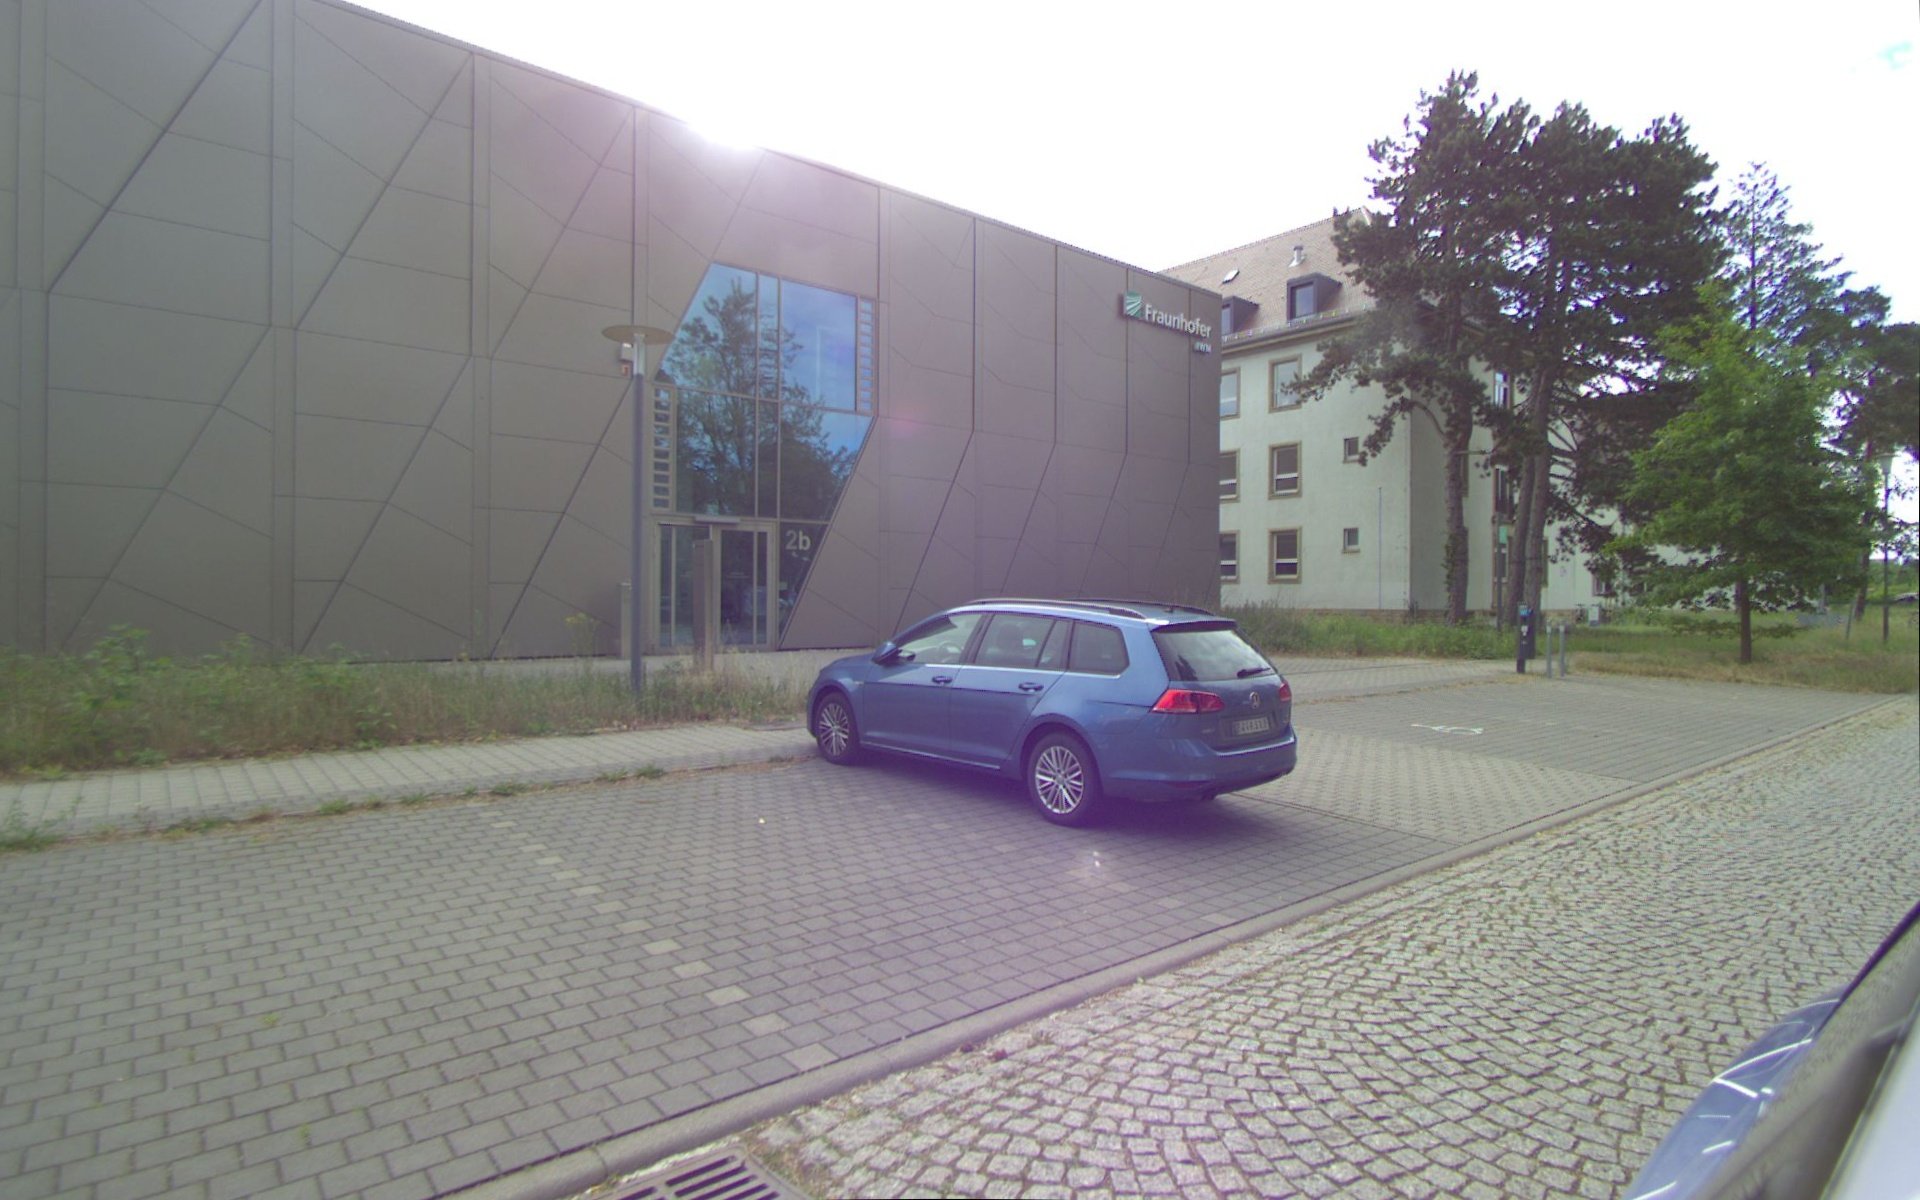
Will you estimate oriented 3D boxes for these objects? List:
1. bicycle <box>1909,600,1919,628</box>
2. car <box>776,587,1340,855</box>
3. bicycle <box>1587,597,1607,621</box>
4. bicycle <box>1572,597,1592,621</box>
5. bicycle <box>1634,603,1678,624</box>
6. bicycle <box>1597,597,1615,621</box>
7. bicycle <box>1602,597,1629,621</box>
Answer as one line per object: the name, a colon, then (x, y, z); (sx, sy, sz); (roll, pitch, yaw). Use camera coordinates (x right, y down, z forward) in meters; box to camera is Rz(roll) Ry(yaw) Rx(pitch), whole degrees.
bicycle: (46.371, 0.660, 47.782); (2.126, 1.292, 0.963); (0, 0, 6)
car: (0.499, 0.690, 8.233); (1.792, 1.461, 4.528); (0, 2, -42)
bicycle: (36.147, 0.508, 57.394); (0.571, 1.349, 1.808); (0, 0, 45)
bicycle: (35.615, 0.507, 57.945); (0.571, 1.349, 1.808); (0, 0, 45)
bicycle: (37.031, 0.695, 53.870); (0.562, 1.098, 1.837); (-2, 1, -36)
bicycle: (36.413, 0.498, 57.052); (0.481, 1.349, 1.808); (0, 0, 45)
bicycle: (36.719, 0.486, 56.660); (1.802, 1.349, 0.573); (0, 0, -32)
